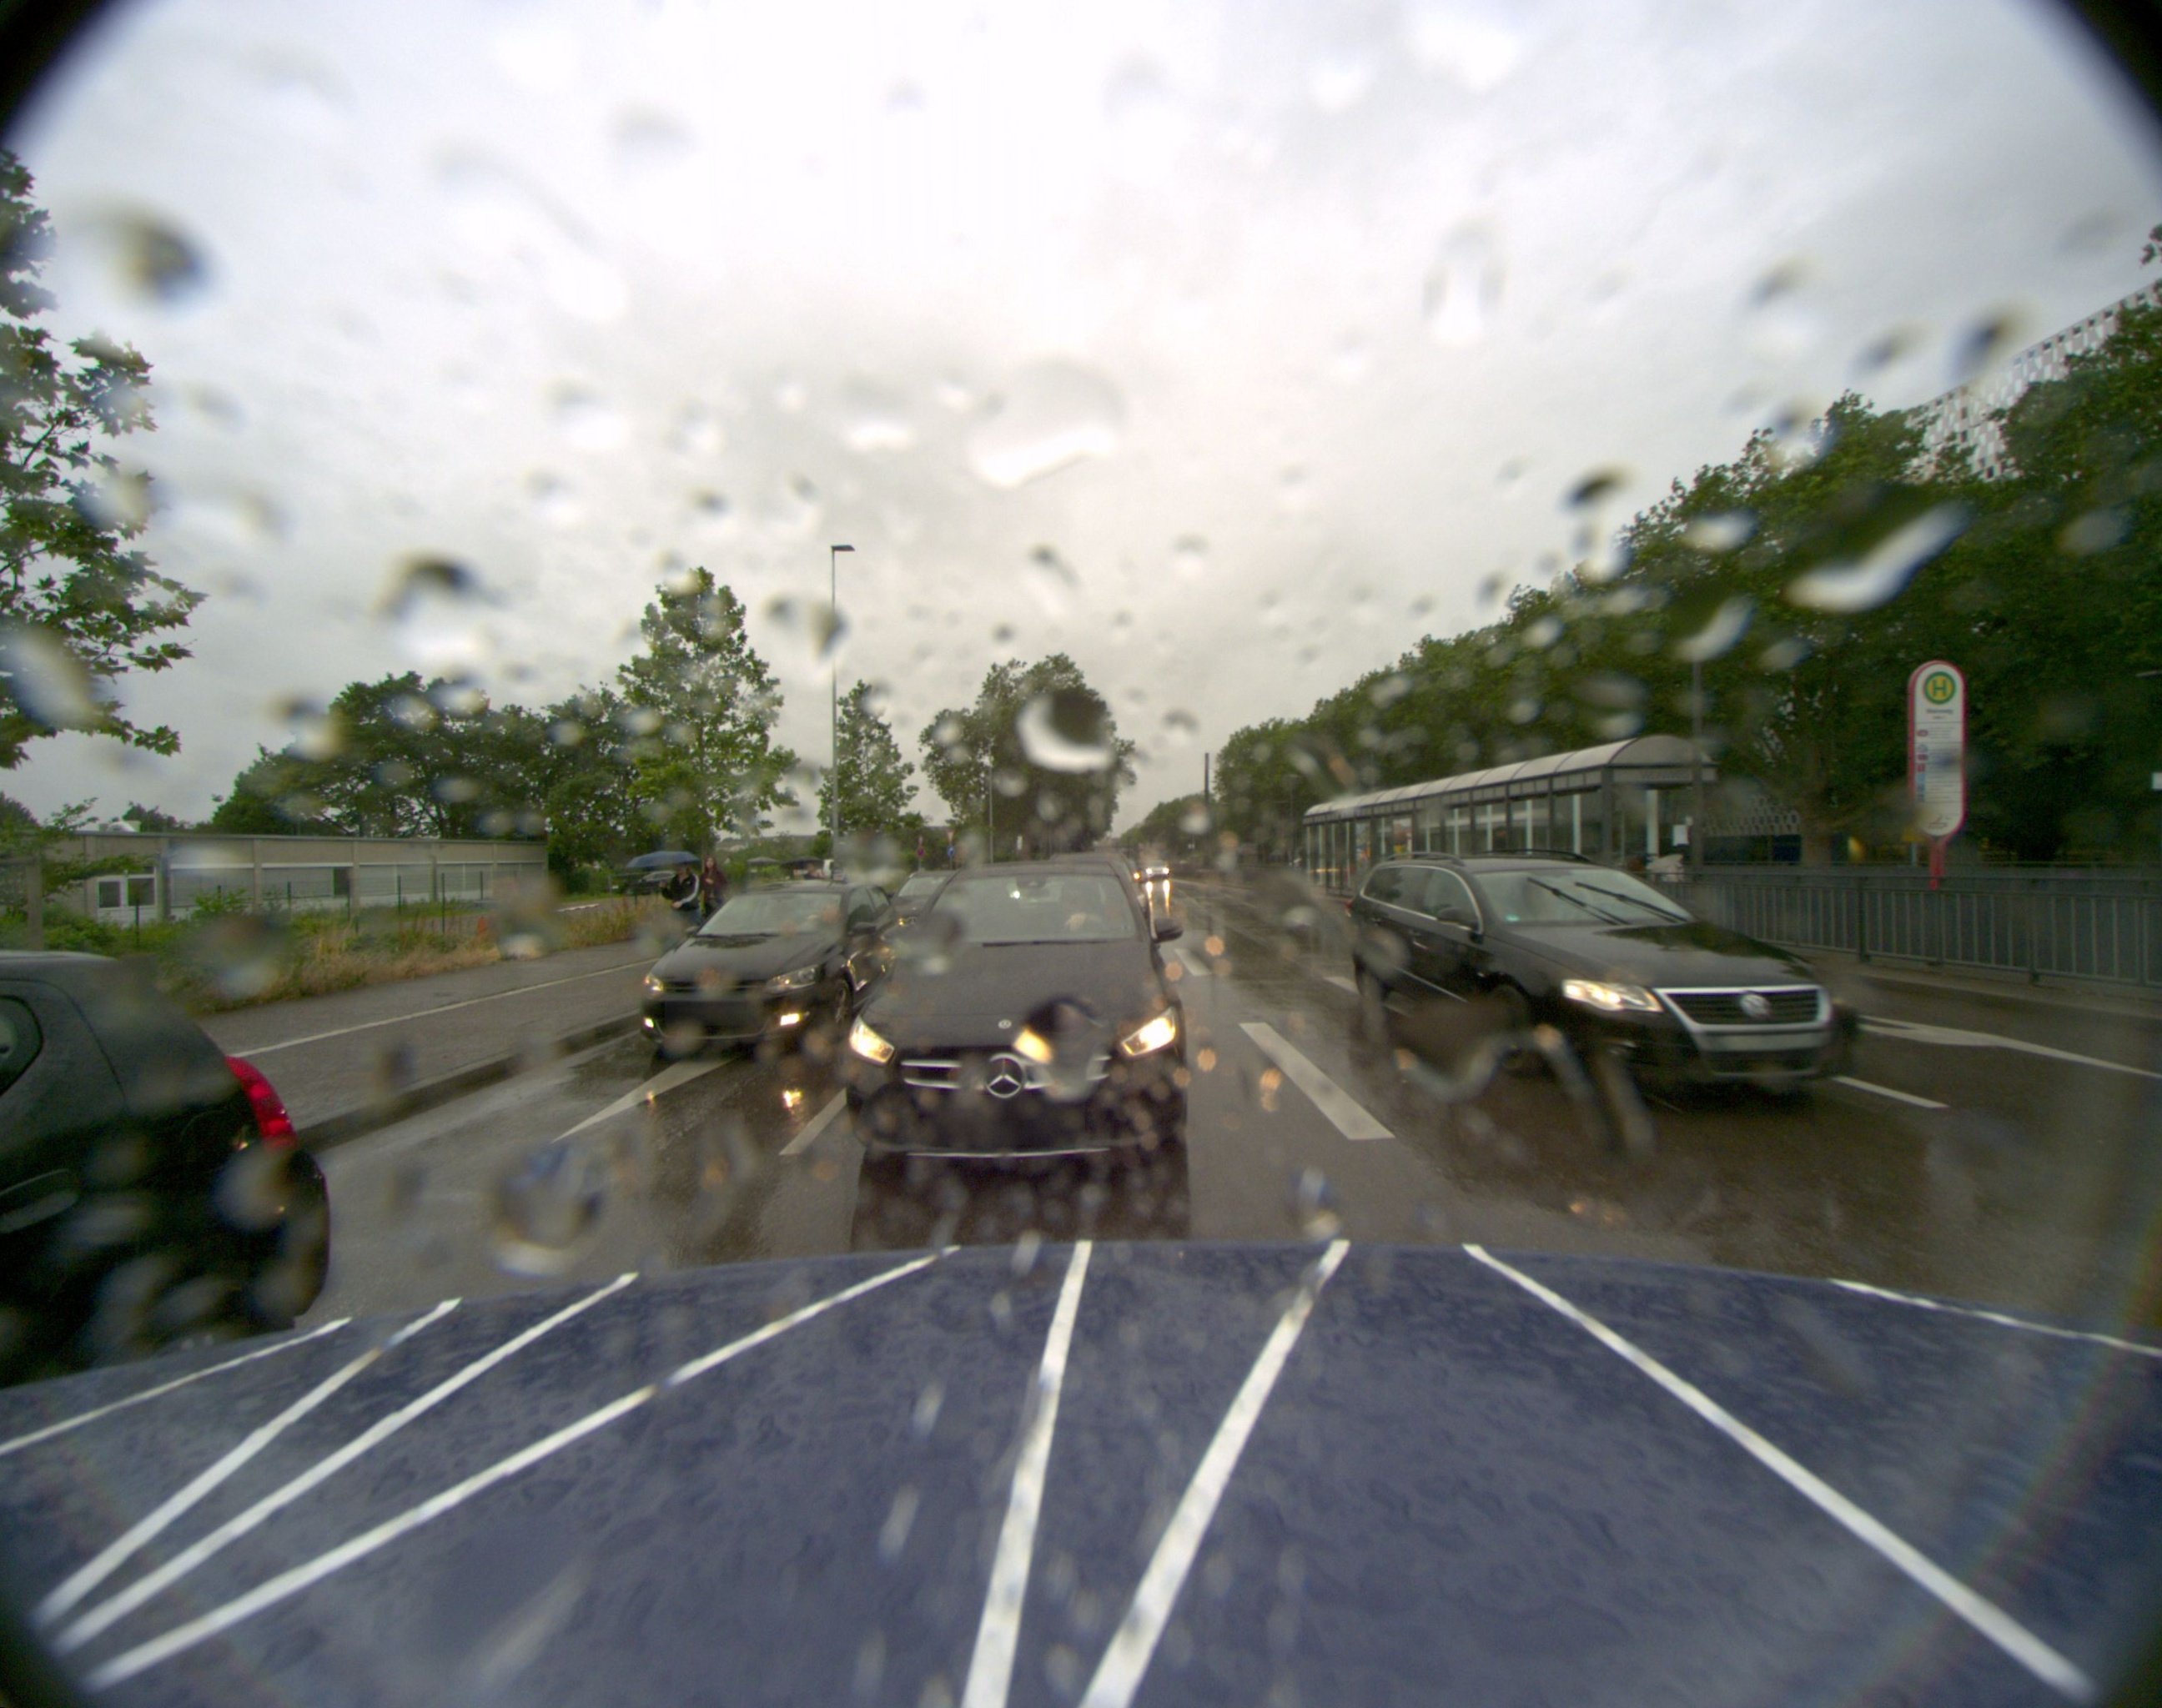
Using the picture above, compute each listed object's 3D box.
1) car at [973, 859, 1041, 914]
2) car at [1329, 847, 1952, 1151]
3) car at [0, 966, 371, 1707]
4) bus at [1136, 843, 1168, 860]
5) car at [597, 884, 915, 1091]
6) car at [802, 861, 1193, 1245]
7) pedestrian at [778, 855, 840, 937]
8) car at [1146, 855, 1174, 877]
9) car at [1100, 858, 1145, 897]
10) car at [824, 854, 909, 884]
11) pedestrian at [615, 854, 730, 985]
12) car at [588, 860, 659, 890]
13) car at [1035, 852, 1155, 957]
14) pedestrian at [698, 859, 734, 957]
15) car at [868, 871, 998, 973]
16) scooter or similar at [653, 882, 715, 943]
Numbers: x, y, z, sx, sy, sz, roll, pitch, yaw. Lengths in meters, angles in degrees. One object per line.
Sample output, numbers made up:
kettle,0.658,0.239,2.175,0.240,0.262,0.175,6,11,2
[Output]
car,-2.223,0.935,23.855,1.703,1.461,4.121,-2,1,0
car,3.590,0.722,6.165,1.775,1.492,4.597,-2,1,2
car,-3.015,1.074,0.509,1.633,1.420,3.624,-2,0,0
bus,14.303,-0.561,155.368,2.940,3.310,15.050,-2,1,-8
car,-2.919,1.111,7.716,1.633,1.420,3.624,-2,0,0
car,-0.343,0.915,5.479,1.690,1.578,4.163,-2,1,1
pedestrian,-5.873,0.880,16.445,1.025,1.698,0.891,1,1,0
car,6.397,0.970,62.059,1.794,1.597,3.999,-2,1,0
car,1.856,1.041,35.089,1.794,1.597,3.999,-2,1,0
car,-13.479,0.939,48.023,4.759,1.640,1.999,-2,1,-2
pedestrian,-5.681,0.880,10.647,1.082,1.746,0.969,0,1,0
car,-33.971,1.516,56.519,3.996,2.002,2.000,-2,1,2
car,0.195,0.722,12.516,1.633,1.420,3.624,-2,0,0
pedestrian,-6.241,0.910,13.013,0.401,1.652,0.441,1,1,0
car,-2.733,1.211,14.910,1.698,1.565,3.813,-2,1,1
scooter or similar,-8.219,1.181,15.808,0.381,1.123,1.777,0,1,-1
